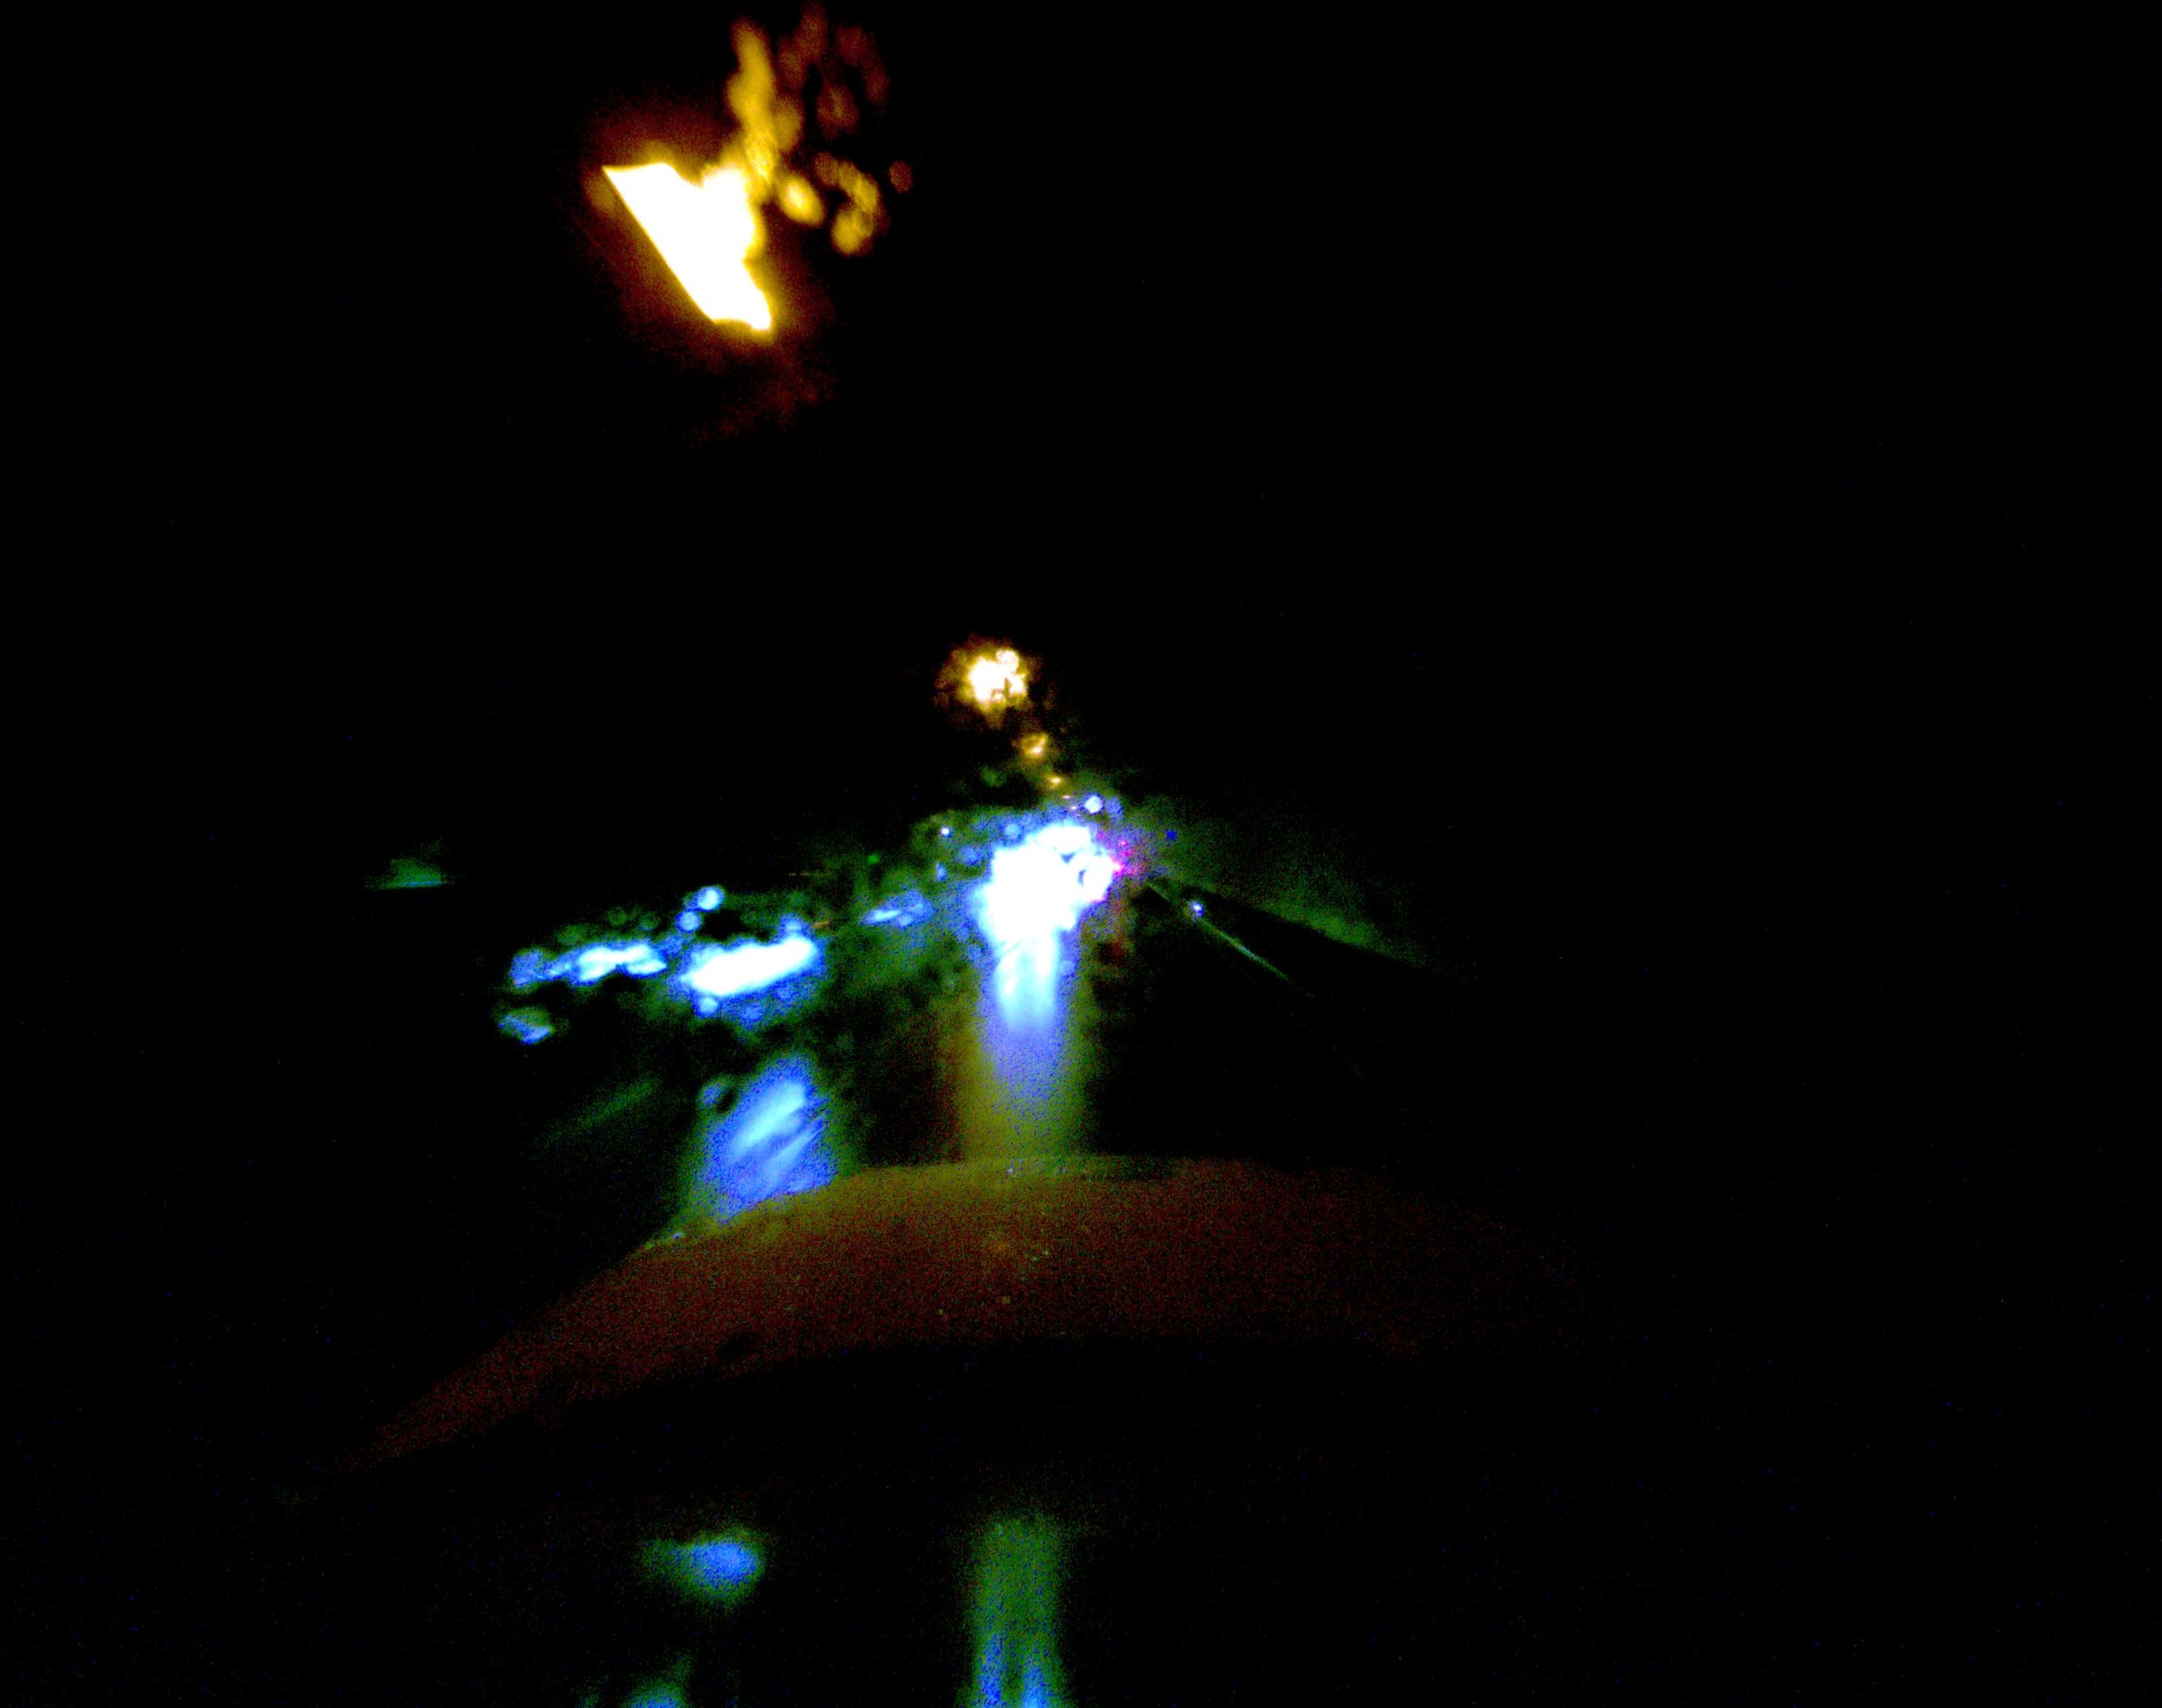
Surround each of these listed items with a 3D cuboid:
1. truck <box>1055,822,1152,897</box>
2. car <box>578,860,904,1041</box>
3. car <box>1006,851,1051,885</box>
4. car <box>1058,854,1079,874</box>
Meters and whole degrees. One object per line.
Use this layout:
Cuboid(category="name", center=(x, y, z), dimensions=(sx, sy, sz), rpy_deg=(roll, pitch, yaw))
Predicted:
Cuboid(category="truck", center=(0.969, 0.191, 34.573), dimensions=(3.522, 2.693, 8.960), rpy_deg=(-1, 0, 2))
Cuboid(category="car", center=(-3.218, 0.812, 8.626), dimensions=(1.728, 1.441, 3.838), rpy_deg=(0, 0, 2))
Cuboid(category="car", center=(-2.413, 0.611, 38.024), dimensions=(1.753, 1.480, 3.887), rpy_deg=(-2, 0, 1))
Cuboid(category="car", center=(-1.147, 0.869, 74.491), dimensions=(1.723, 1.792, 3.933), rpy_deg=(0, 0, 1))
